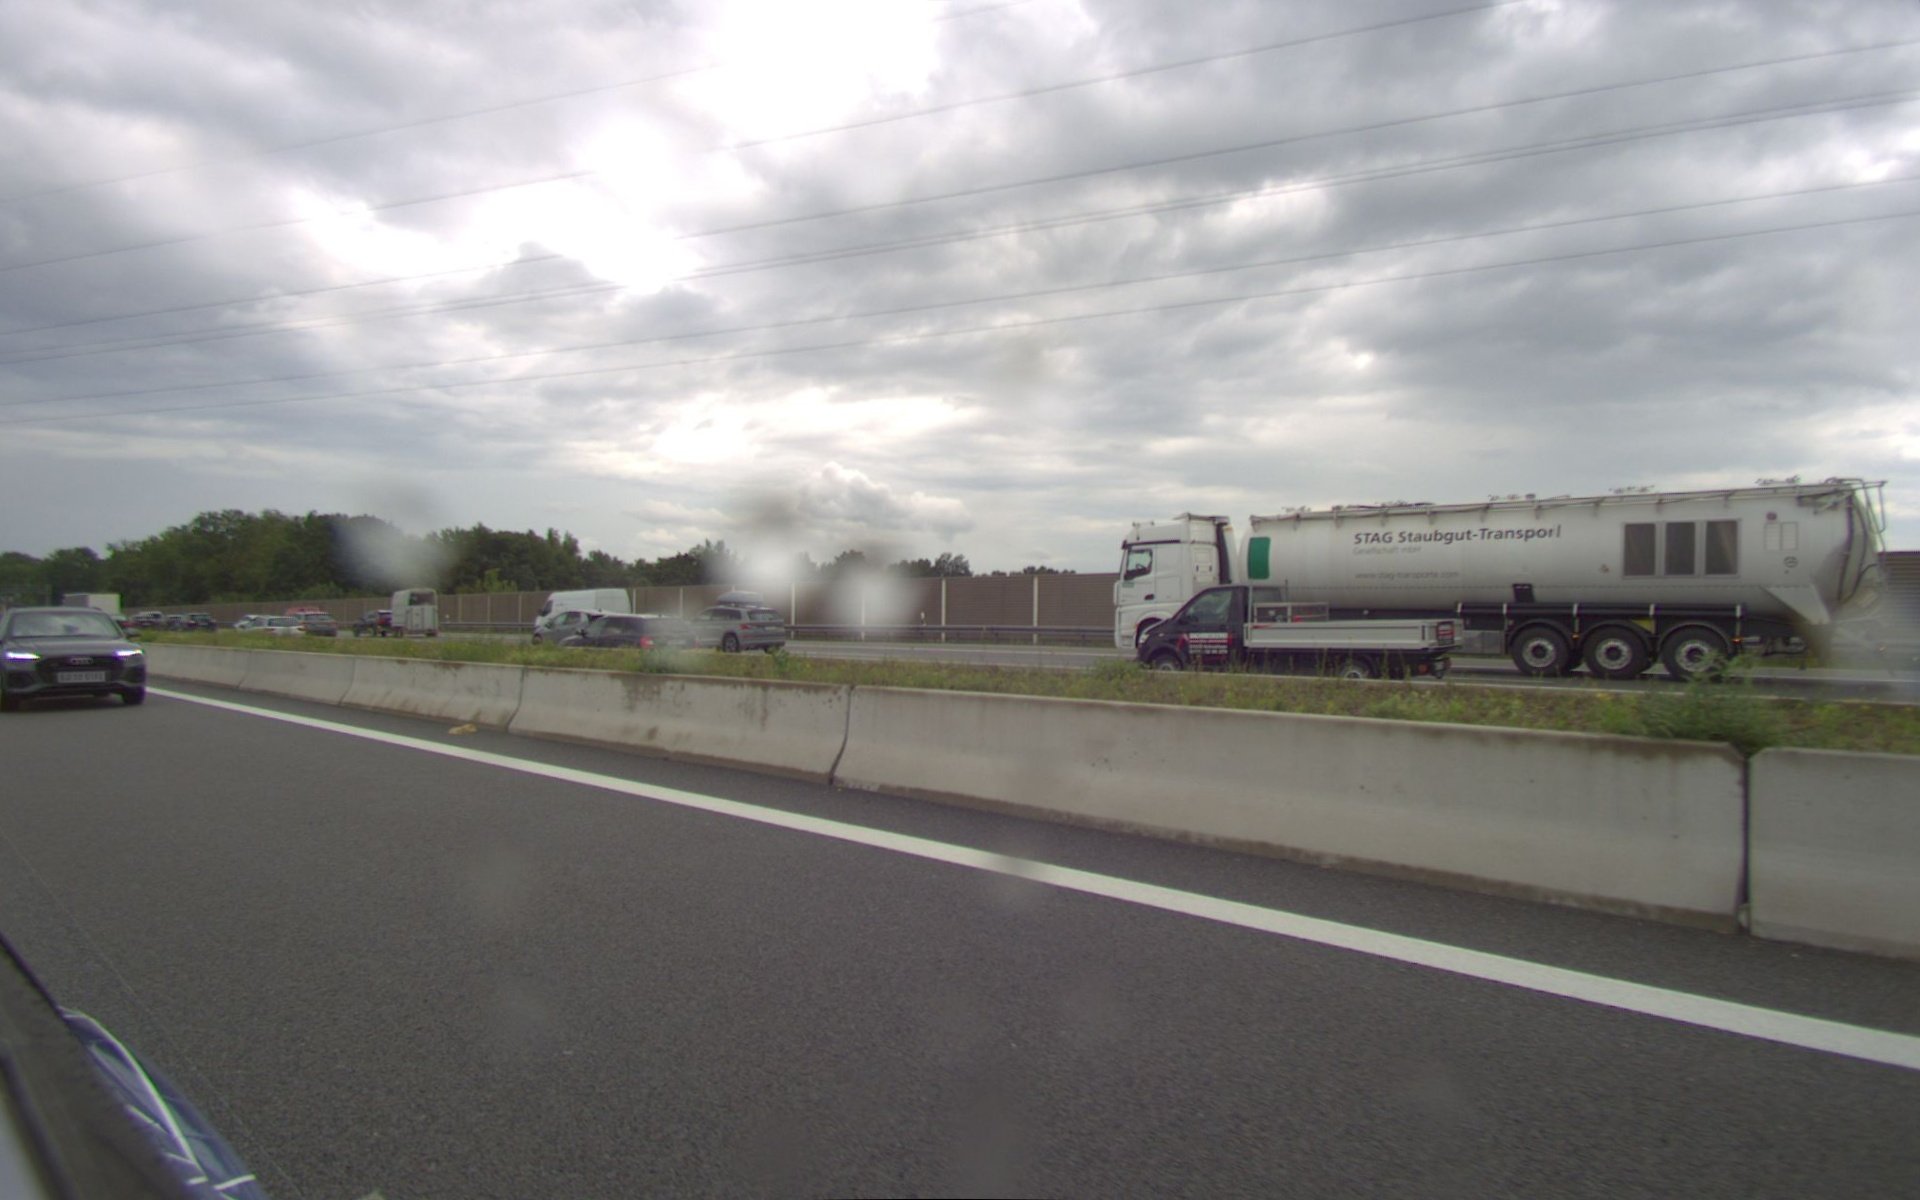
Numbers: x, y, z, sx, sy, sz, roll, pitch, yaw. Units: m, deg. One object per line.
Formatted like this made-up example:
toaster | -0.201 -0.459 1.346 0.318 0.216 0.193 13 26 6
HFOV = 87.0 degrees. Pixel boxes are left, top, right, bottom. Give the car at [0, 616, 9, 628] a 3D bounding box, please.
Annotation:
car | -123.215 2.857 129.412 5.157 1.548 1.747 -1 0 40

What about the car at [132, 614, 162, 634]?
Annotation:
car | -88.653 2.607 110.345 3.999 2.029 1.981 -1 0 42

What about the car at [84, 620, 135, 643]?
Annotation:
car | -57.146 2.096 67.964 4.939 1.465 1.808 -1 0 40

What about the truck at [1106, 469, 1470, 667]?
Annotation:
truck | 8.298 -0.659 26.345 8.233 4.351 3.622 -1 0 41

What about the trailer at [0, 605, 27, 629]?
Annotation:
trailer | -164.961 2.921 175.763 14.044 3.994 2.650 -1 0 41

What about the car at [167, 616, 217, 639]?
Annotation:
car | -50.878 1.790 67.025 4.230 1.465 1.747 -1 0 40

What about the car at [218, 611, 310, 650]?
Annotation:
car | -29.247 1.242 42.460 4.736 1.538 1.974 -1 -1 39

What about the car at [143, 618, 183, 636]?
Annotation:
car | -68.571 2.350 87.029 4.939 1.465 1.747 -1 0 40

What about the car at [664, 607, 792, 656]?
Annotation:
car | -7.752 1.026 33.594 4.561 1.480 1.769 -1 0 40

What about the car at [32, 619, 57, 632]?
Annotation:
car | -117.147 3.248 129.504 5.157 1.548 1.747 -1 0 40

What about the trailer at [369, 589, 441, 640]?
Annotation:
trailer | -33.789 0.882 61.520 4.897 2.984 2.225 -1 0 40

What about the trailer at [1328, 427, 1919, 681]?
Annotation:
trailer | 14.503 -0.737 20.910 12.461 4.268 3.622 -1 0 41

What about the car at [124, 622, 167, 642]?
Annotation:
car | -64.107 2.472 79.627 4.939 1.465 1.747 -1 0 40

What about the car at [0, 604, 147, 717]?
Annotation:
car | -15.938 0.961 17.767 5.168 1.704 1.888 -1 -1 43

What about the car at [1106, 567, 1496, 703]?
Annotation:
car | 5.742 0.541 17.746 6.086 1.983 2.255 -1 0 43

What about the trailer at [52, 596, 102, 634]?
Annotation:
trailer | -98.268 1.622 112.614 6.074 4.074 3.286 -1 0 40

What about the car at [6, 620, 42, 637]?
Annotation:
car | -83.433 2.538 90.166 5.081 1.465 1.747 -1 0 40

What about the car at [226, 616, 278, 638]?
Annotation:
car | -48.694 1.835 69.600 4.939 1.465 1.747 -1 0 40

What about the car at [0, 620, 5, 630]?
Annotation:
car | -148.576 3.832 155.828 5.157 1.548 1.747 -1 0 40

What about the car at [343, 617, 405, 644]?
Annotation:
car | -37.474 1.936 64.672 4.817 1.607 1.945 -1 0 40

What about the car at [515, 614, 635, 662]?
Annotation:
car | -12.999 1.243 34.049 4.561 1.465 1.769 -1 0 40

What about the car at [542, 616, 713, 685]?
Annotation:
car | -8.000 1.140 24.135 4.561 1.465 1.769 -1 0 40

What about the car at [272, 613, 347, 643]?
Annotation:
car | -34.239 1.444 53.219 4.939 1.465 1.945 -1 0 40

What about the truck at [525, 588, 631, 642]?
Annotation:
truck | -18.502 0.725 48.837 6.260 2.470 2.081 -1 0 41

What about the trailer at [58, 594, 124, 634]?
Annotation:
trailer | -92.897 1.495 108.025 13.278 4.092 3.285 -1 0 40

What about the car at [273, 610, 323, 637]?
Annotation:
car | -49.419 1.747 75.506 4.939 1.982 1.747 -1 0 40
